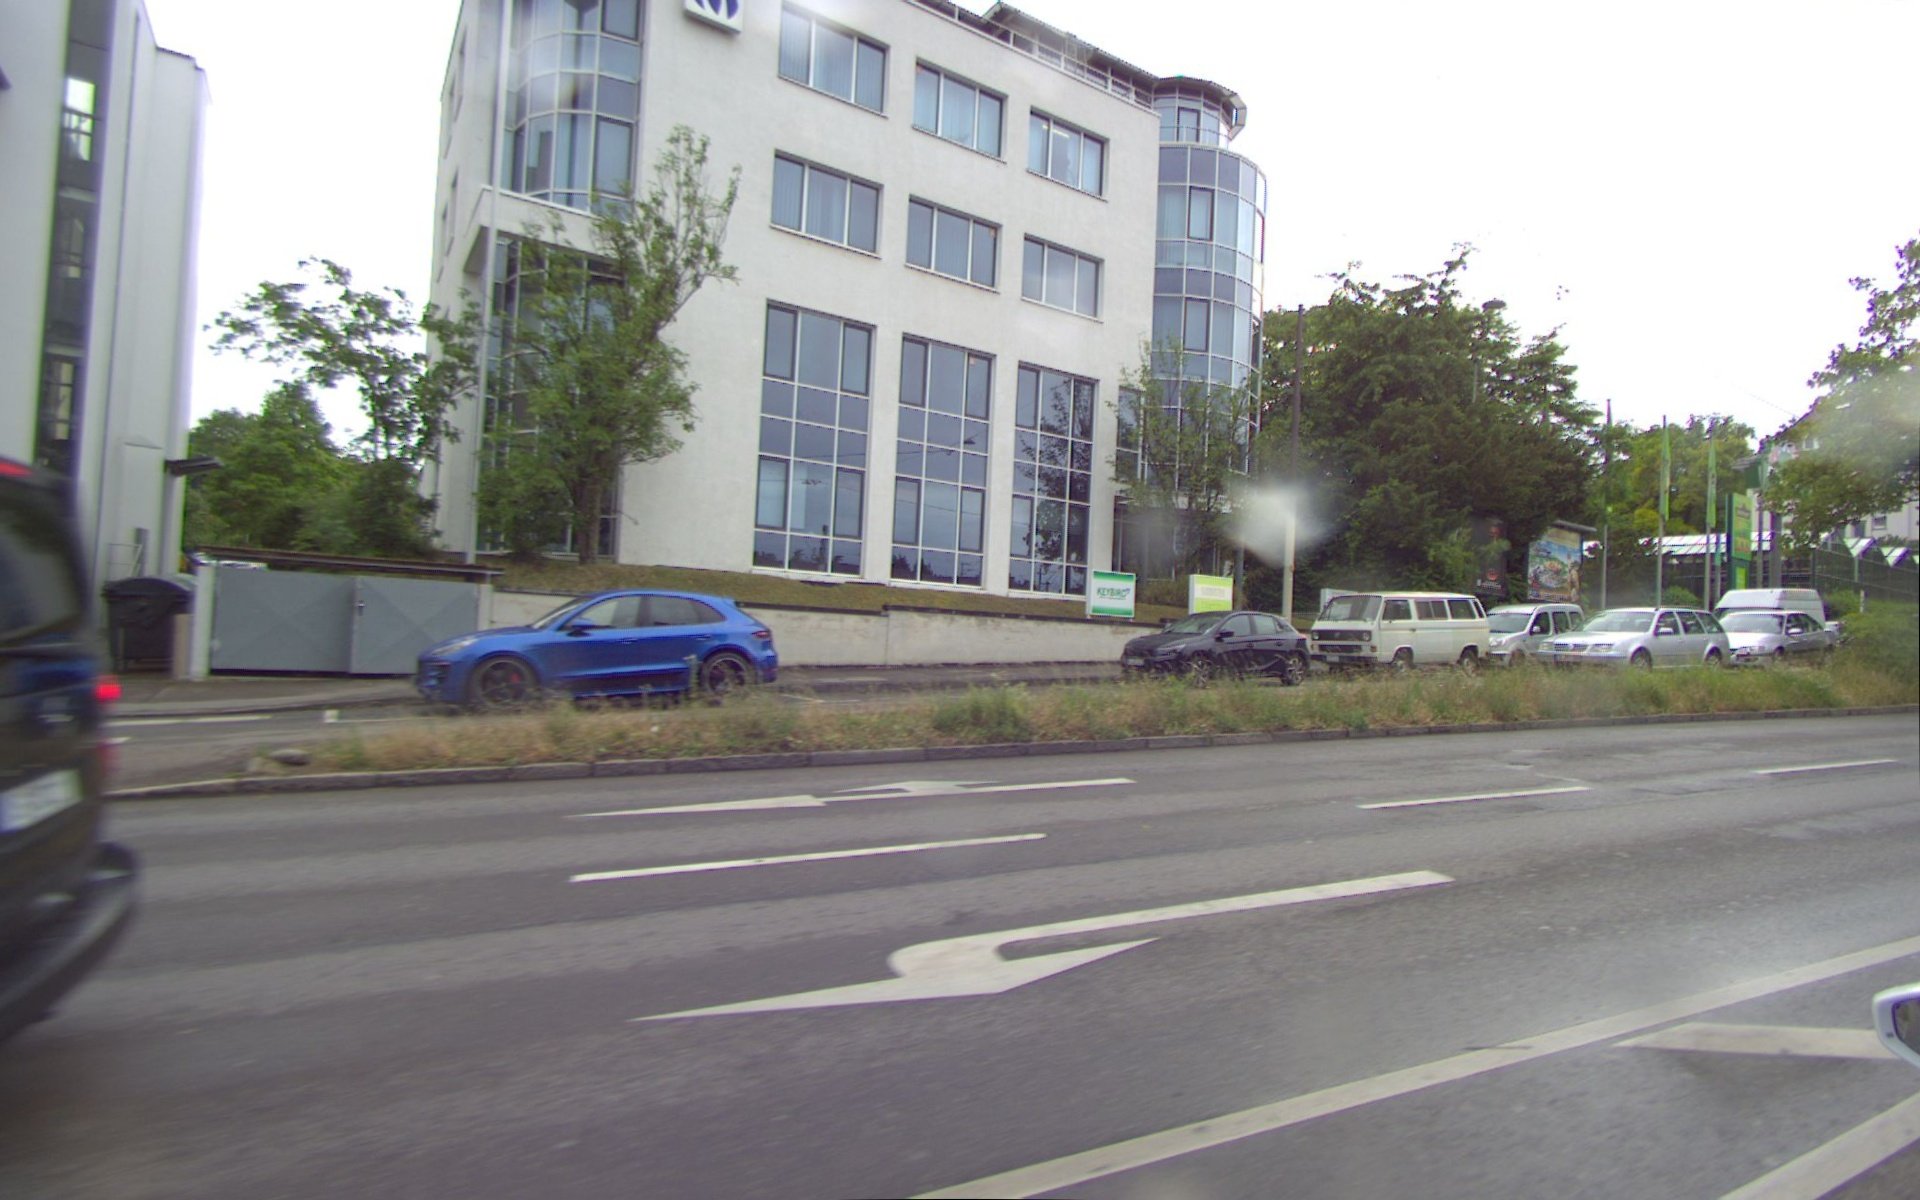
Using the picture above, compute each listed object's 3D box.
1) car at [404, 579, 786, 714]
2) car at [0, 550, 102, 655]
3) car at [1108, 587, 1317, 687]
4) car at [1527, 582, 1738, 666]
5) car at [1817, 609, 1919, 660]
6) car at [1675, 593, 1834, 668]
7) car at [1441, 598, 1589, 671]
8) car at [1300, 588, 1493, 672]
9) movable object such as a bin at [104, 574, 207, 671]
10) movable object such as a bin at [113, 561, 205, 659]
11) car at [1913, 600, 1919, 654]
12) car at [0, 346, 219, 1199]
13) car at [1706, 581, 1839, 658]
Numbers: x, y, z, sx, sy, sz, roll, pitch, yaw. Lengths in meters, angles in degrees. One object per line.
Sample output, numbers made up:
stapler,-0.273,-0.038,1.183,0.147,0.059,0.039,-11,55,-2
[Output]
car,-4.820,0.581,13.504,4.617,1.554,1.680,1,-1,-31
car,-16.719,0.042,17.836,1.697,1.697,3.026,4,-3,-32
car,4.903,0.688,19.369,3.947,1.744,1.603,1,-1,-31
car,13.229,0.470,19.706,4.389,1.498,1.640,1,-1,-29
car,24.053,0.882,25.849,4.167,1.221,1.690,2,-1,-29
car,17.975,0.669,22.693,3.947,1.560,1.583,1,-1,-32
car,13.898,0.844,25.137,3.737,1.718,1.584,1,-1,-31
car,10.045,0.678,23.031,4.530,1.769,1.762,1,-1,-31
movable object such as a bin,-12.461,0.331,15.604,1.086,1.425,1.180,1,1,-32
movable object such as a bin,-13.504,0.178,16.976,1.030,1.561,1.237,3,-1,-34
car,28.702,0.858,28.376,3.604,1.471,1.646,4,-3,-30
car,-4.663,0.347,1.862,4.979,1.891,2.007,2,-2,-28
car,28.080,0.687,34.662,5.595,2.476,1.951,1,-1,-33
